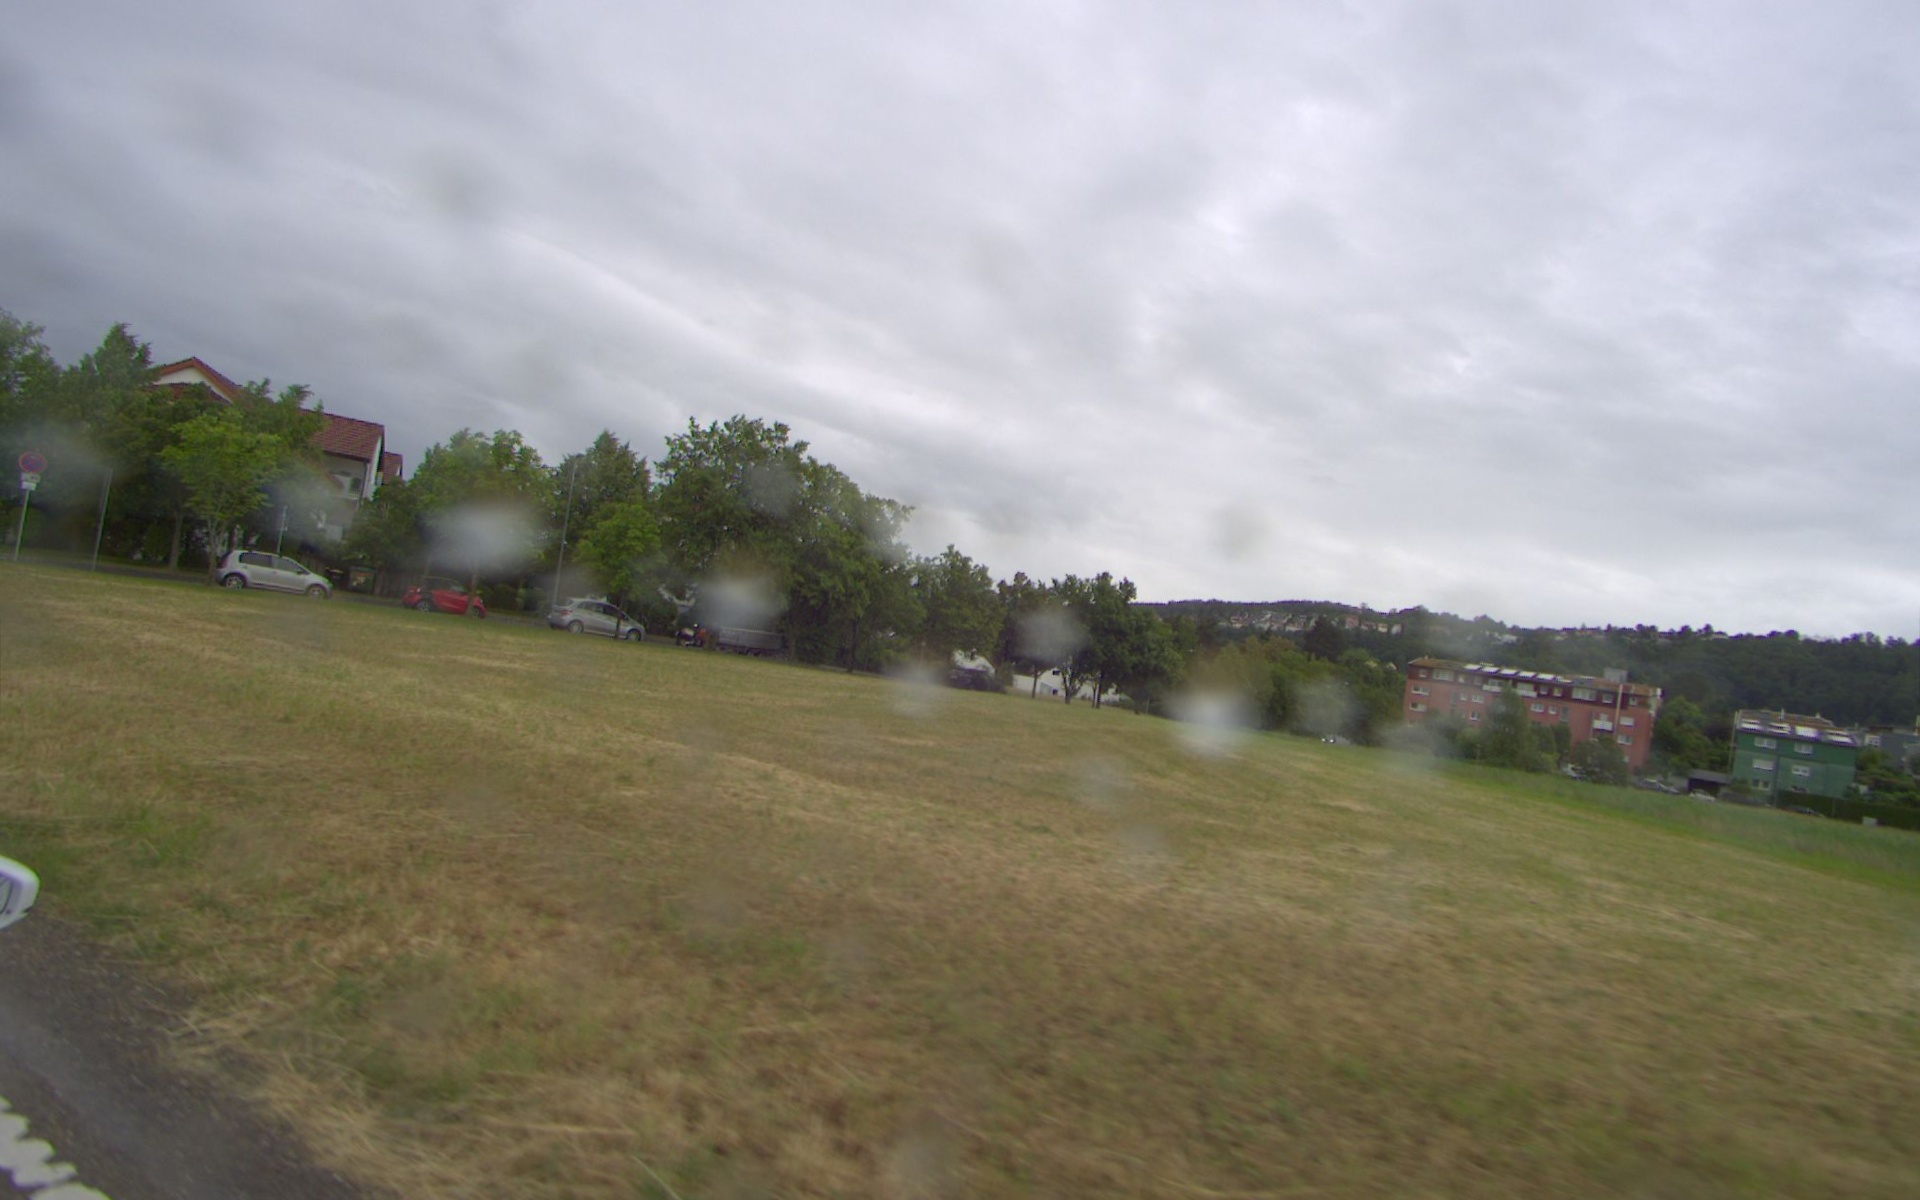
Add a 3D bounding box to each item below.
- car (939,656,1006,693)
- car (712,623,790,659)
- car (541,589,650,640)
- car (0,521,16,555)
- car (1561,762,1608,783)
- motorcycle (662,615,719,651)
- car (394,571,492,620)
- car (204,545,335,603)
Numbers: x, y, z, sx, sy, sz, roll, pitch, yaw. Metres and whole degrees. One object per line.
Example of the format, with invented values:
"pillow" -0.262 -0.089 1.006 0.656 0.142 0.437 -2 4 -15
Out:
"car" 0.787 4.707 63.040 1.934 1.623 3.992 6 -6 40
"car" -10.312 2.064 49.829 1.710 1.295 3.316 5 -4 42
"car" -15.875 0.644 43.949 1.827 1.568 3.975 5 -5 43
"car" -50.197 -3.370 50.210 3.948 1.683 1.770 7 -2 -24
"car" 85.908 23.756 138.412 5.206 2.036 1.993 4 -3 40
"motorcycle" -12.568 1.558 47.011 0.958 1.316 2.257 6 -4 42
"car" -20.243 -0.175 39.456 2.995 1.451 1.536 11 -5 -42
"car" -24.302 -0.893 35.458 3.532 1.495 1.661 10 -4 -42
